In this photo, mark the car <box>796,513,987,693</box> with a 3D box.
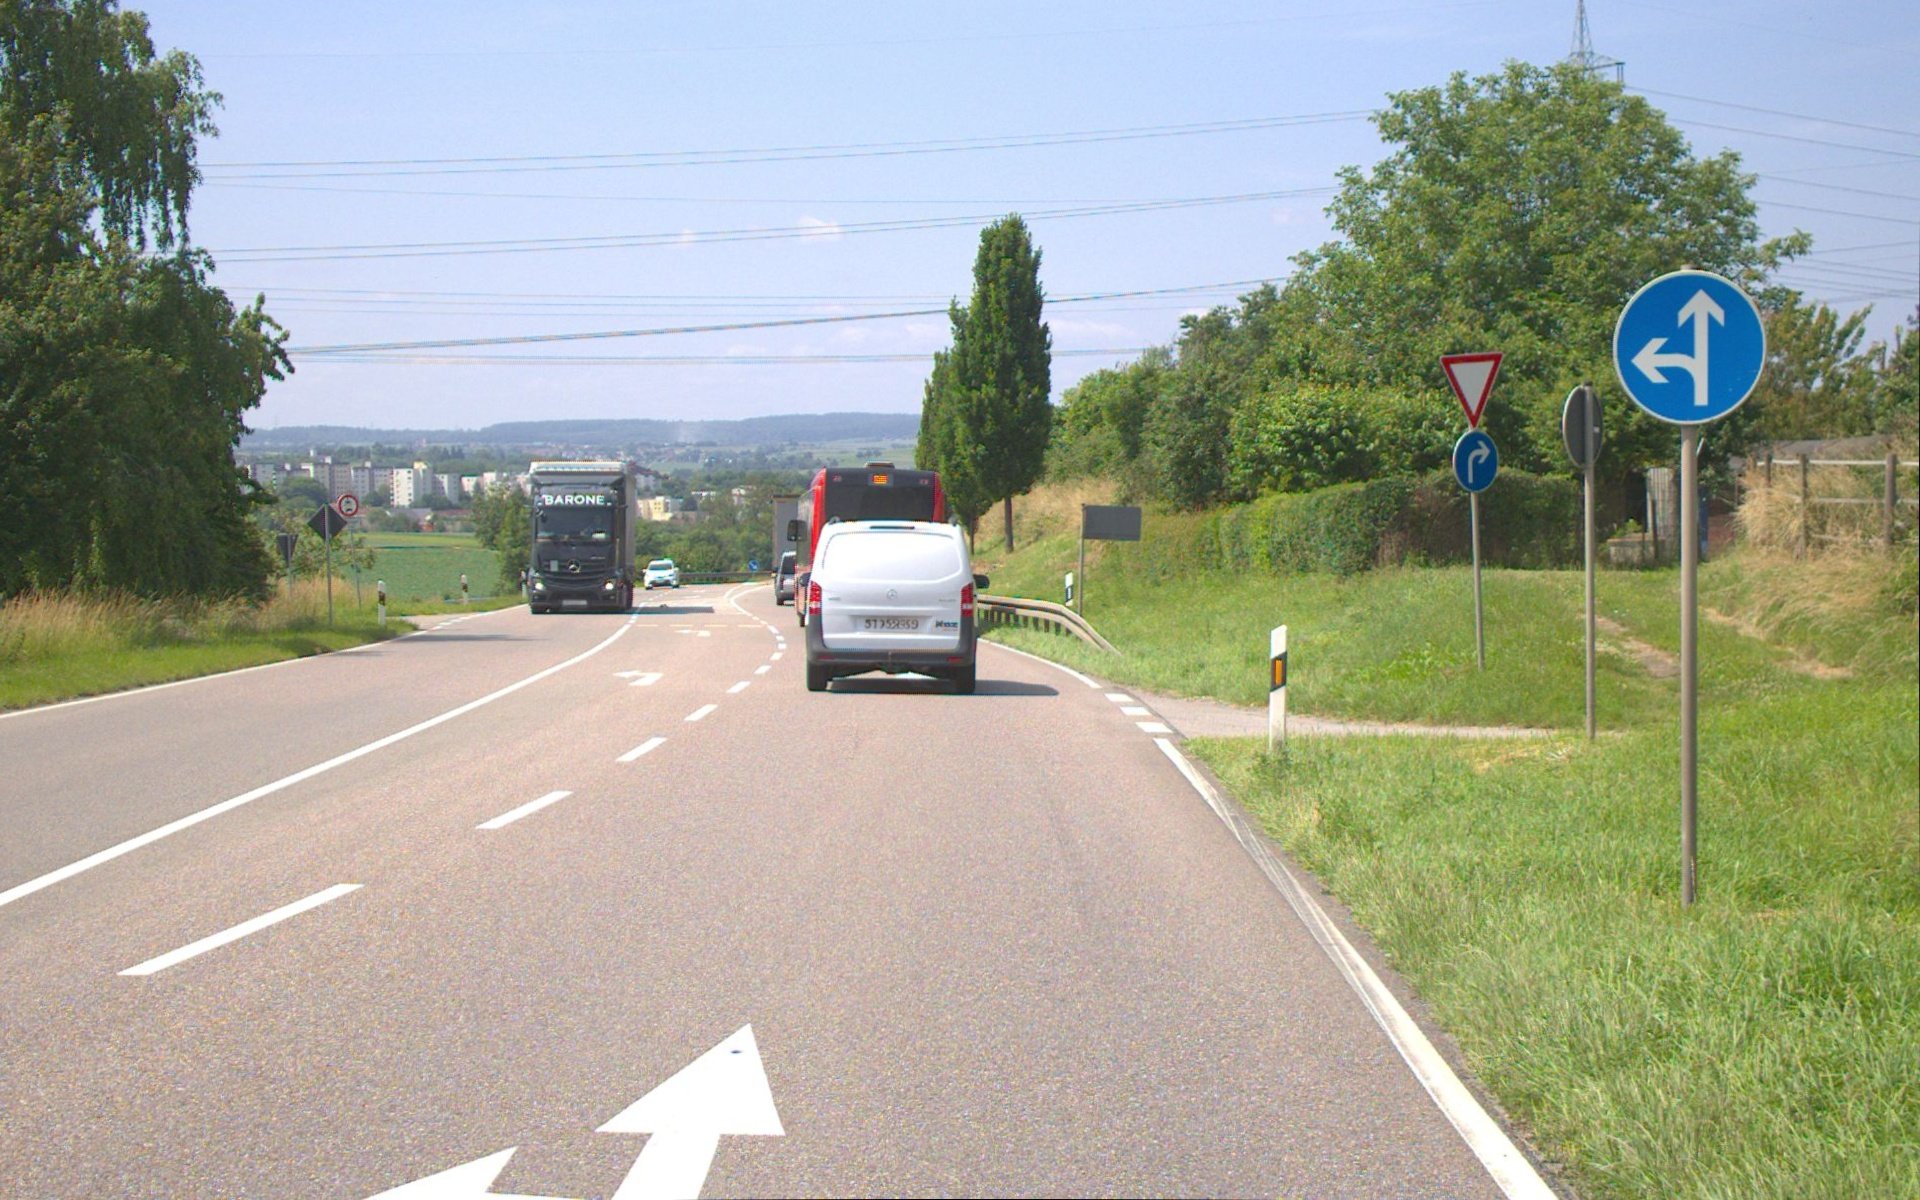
[{"bbox_3d":[-0.721,-0.017,38.983,1.923,1.883,4.000,-1,1,2],"label":"car"}]

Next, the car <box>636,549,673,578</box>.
[{"bbox_3d":[-17.294,-2.059,194.519,1.853,1.560,4.075,-1,1,-2],"label":"car"}]

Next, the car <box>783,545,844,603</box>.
[{"bbox_3d":[-4.758,-0.864,112.179,1.885,1.810,3.765,0,1,-1],"label":"car"}]

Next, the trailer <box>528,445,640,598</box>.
[{"bbox_3d":[-10.826,-2.229,100.021,2.592,4.128,13.743,0,1,-4],"label":"trailer"}]

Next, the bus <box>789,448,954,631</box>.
[{"bbox_3d":[-2.005,-1.430,71.743,2.747,3.341,13.225,-3,3,-4],"label":"bus"}]

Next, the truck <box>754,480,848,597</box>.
[{"bbox_3d":[-6.389,-2.516,139.167,3.488,4.408,14.904,-1,1,-2],"label":"truck"}]

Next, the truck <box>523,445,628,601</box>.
[{"bbox_3d":[-10.380,-2.075,93.181,2.585,4.090,5.443,0,1,-4],"label":"truck"}]
